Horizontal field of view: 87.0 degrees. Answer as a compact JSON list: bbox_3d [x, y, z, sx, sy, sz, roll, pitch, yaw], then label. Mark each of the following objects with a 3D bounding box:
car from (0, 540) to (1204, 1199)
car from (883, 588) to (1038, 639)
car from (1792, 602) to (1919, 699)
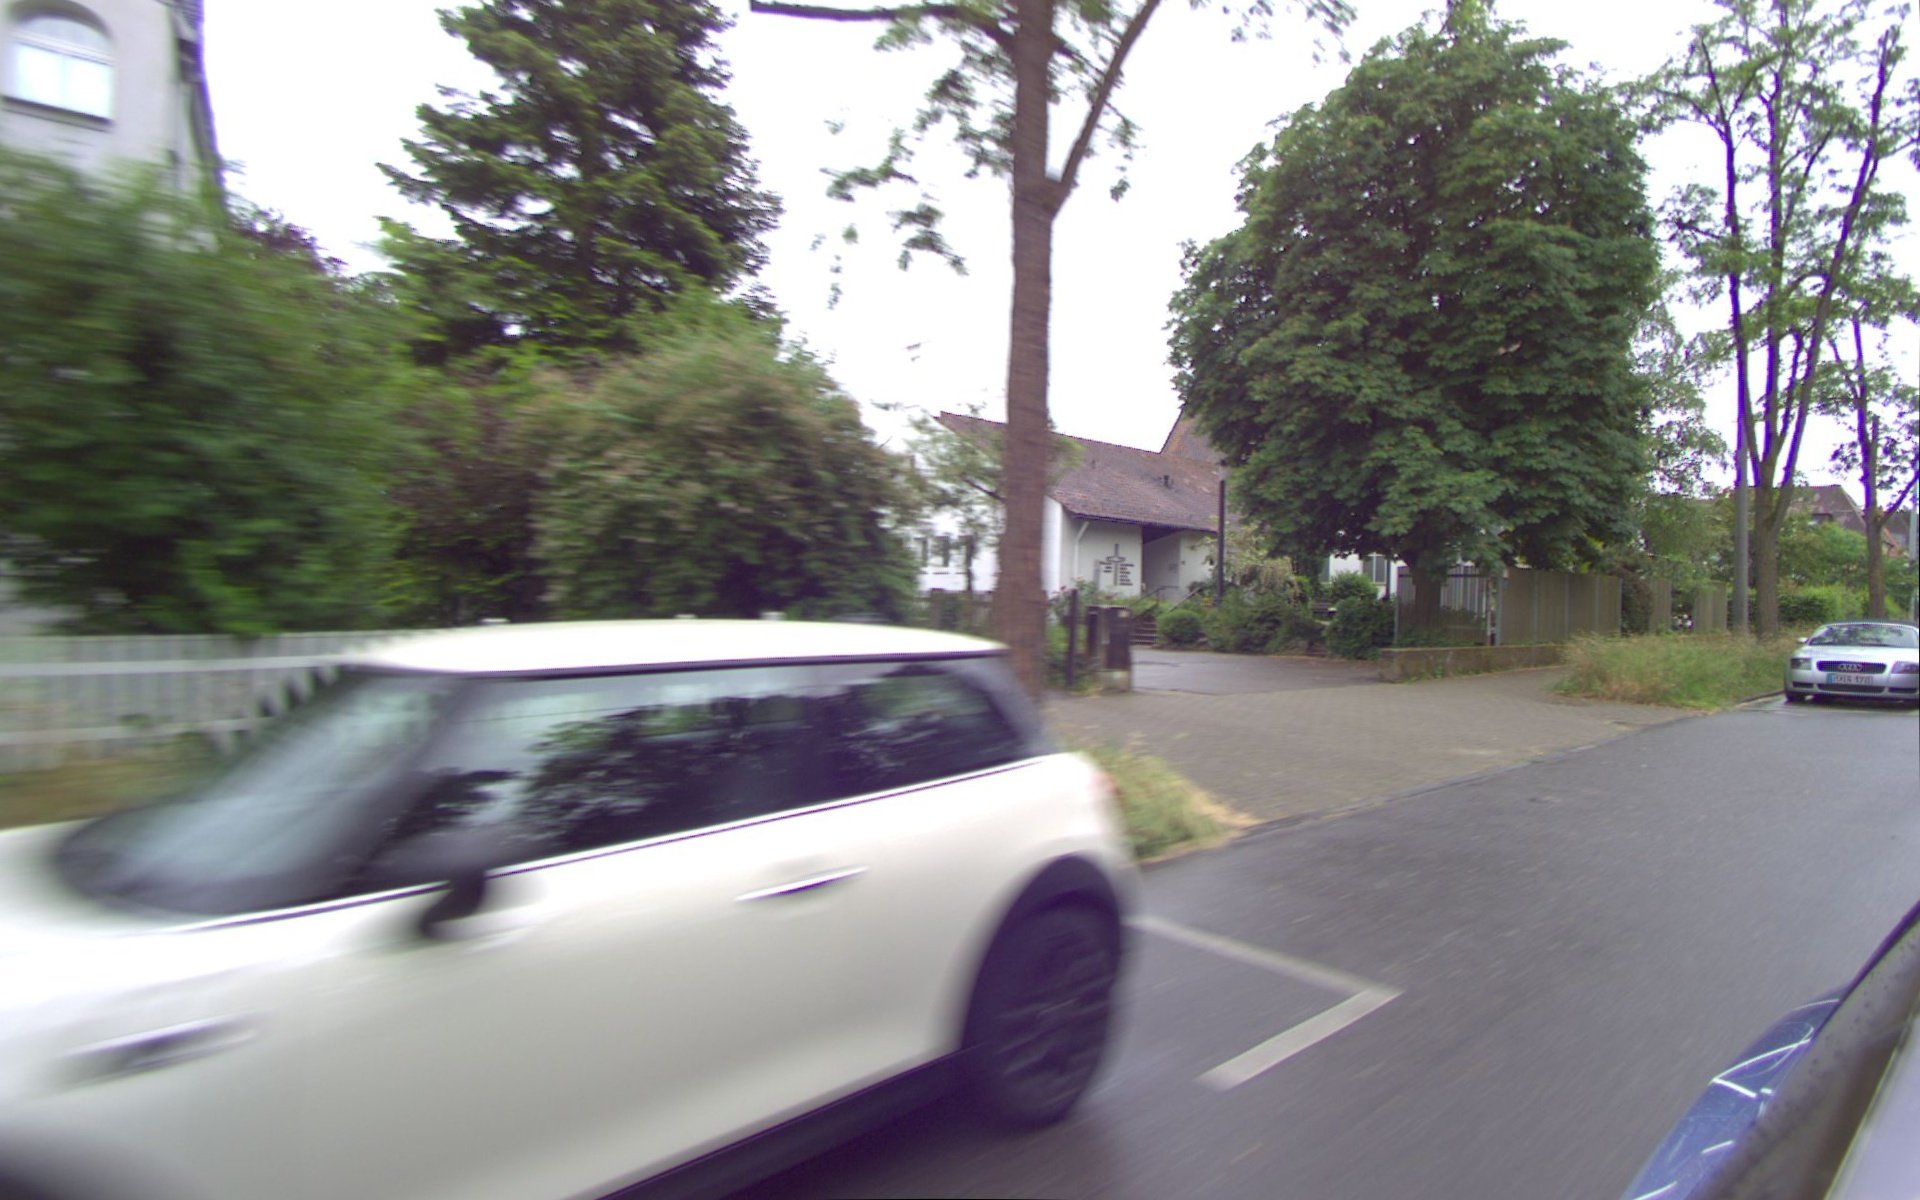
[{"bbox_3d":[-1.166,0.672,2.706,3.659,1.483,1.741,1,-1,-41],"label":"car"},{"bbox_3d":[0.065,0.389,29.523,4.441,1.393,1.619,1,-1,-37],"label":"car"},{"bbox_3d":[15.060,0.761,16.452,3.931,1.413,1.784,1,-1,-42],"label":"car"}]
